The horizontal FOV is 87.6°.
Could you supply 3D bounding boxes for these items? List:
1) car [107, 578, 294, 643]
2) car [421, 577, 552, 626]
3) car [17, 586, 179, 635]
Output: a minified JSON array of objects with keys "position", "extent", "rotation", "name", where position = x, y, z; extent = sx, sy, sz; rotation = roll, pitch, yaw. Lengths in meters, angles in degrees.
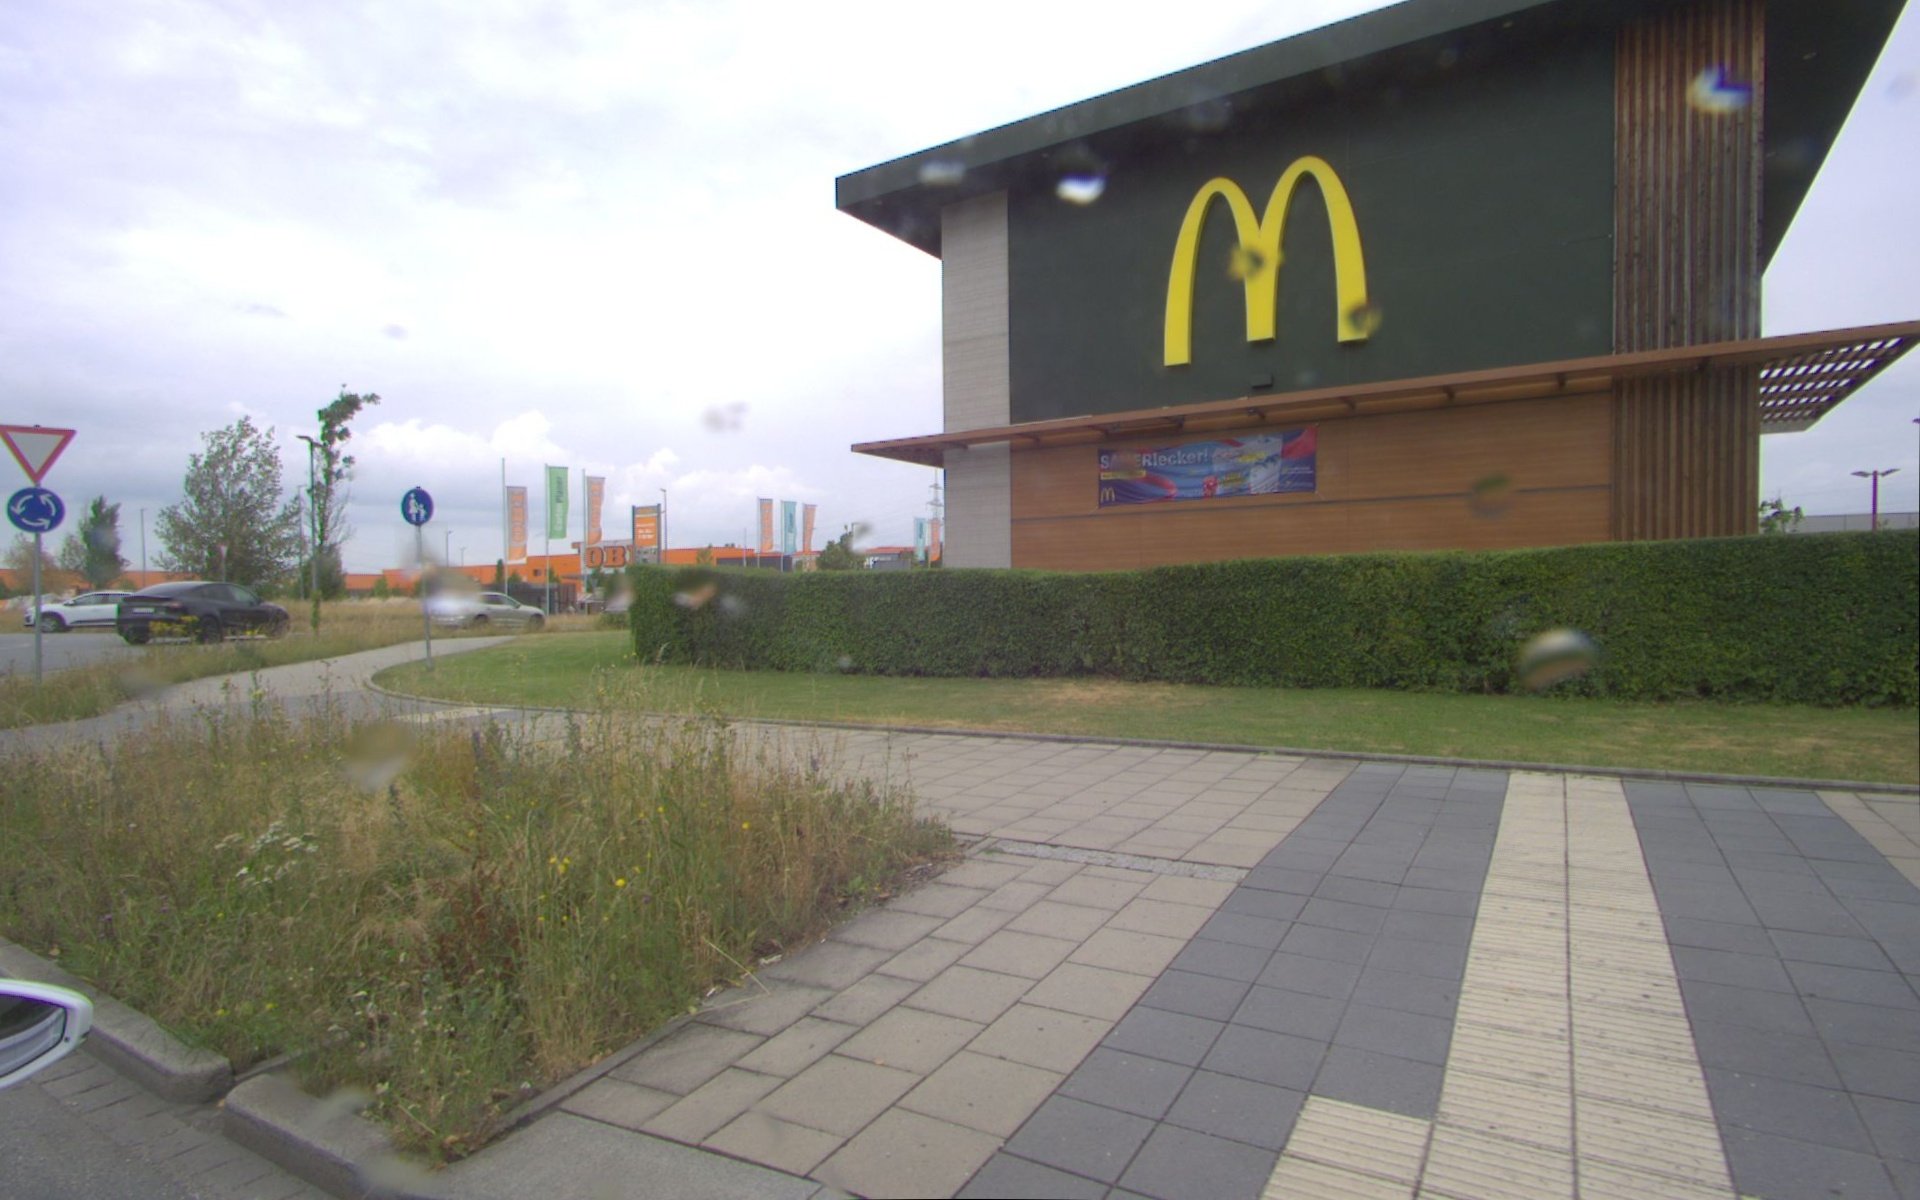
[{"position":[-20.183,0.220,26.916],"extent":[1.907,1.519,4.769],"rotation":[1,2,-8],"name":"car"},{"position":[-18.517,0.015,39.417],"extent":[1.909,1.762,4.764],"rotation":[2,2,18],"name":"car"},{"position":[-31.829,0.352,37.162],"extent":[4.281,1.671,1.858],"rotation":[0,2,-33],"name":"car"}]
